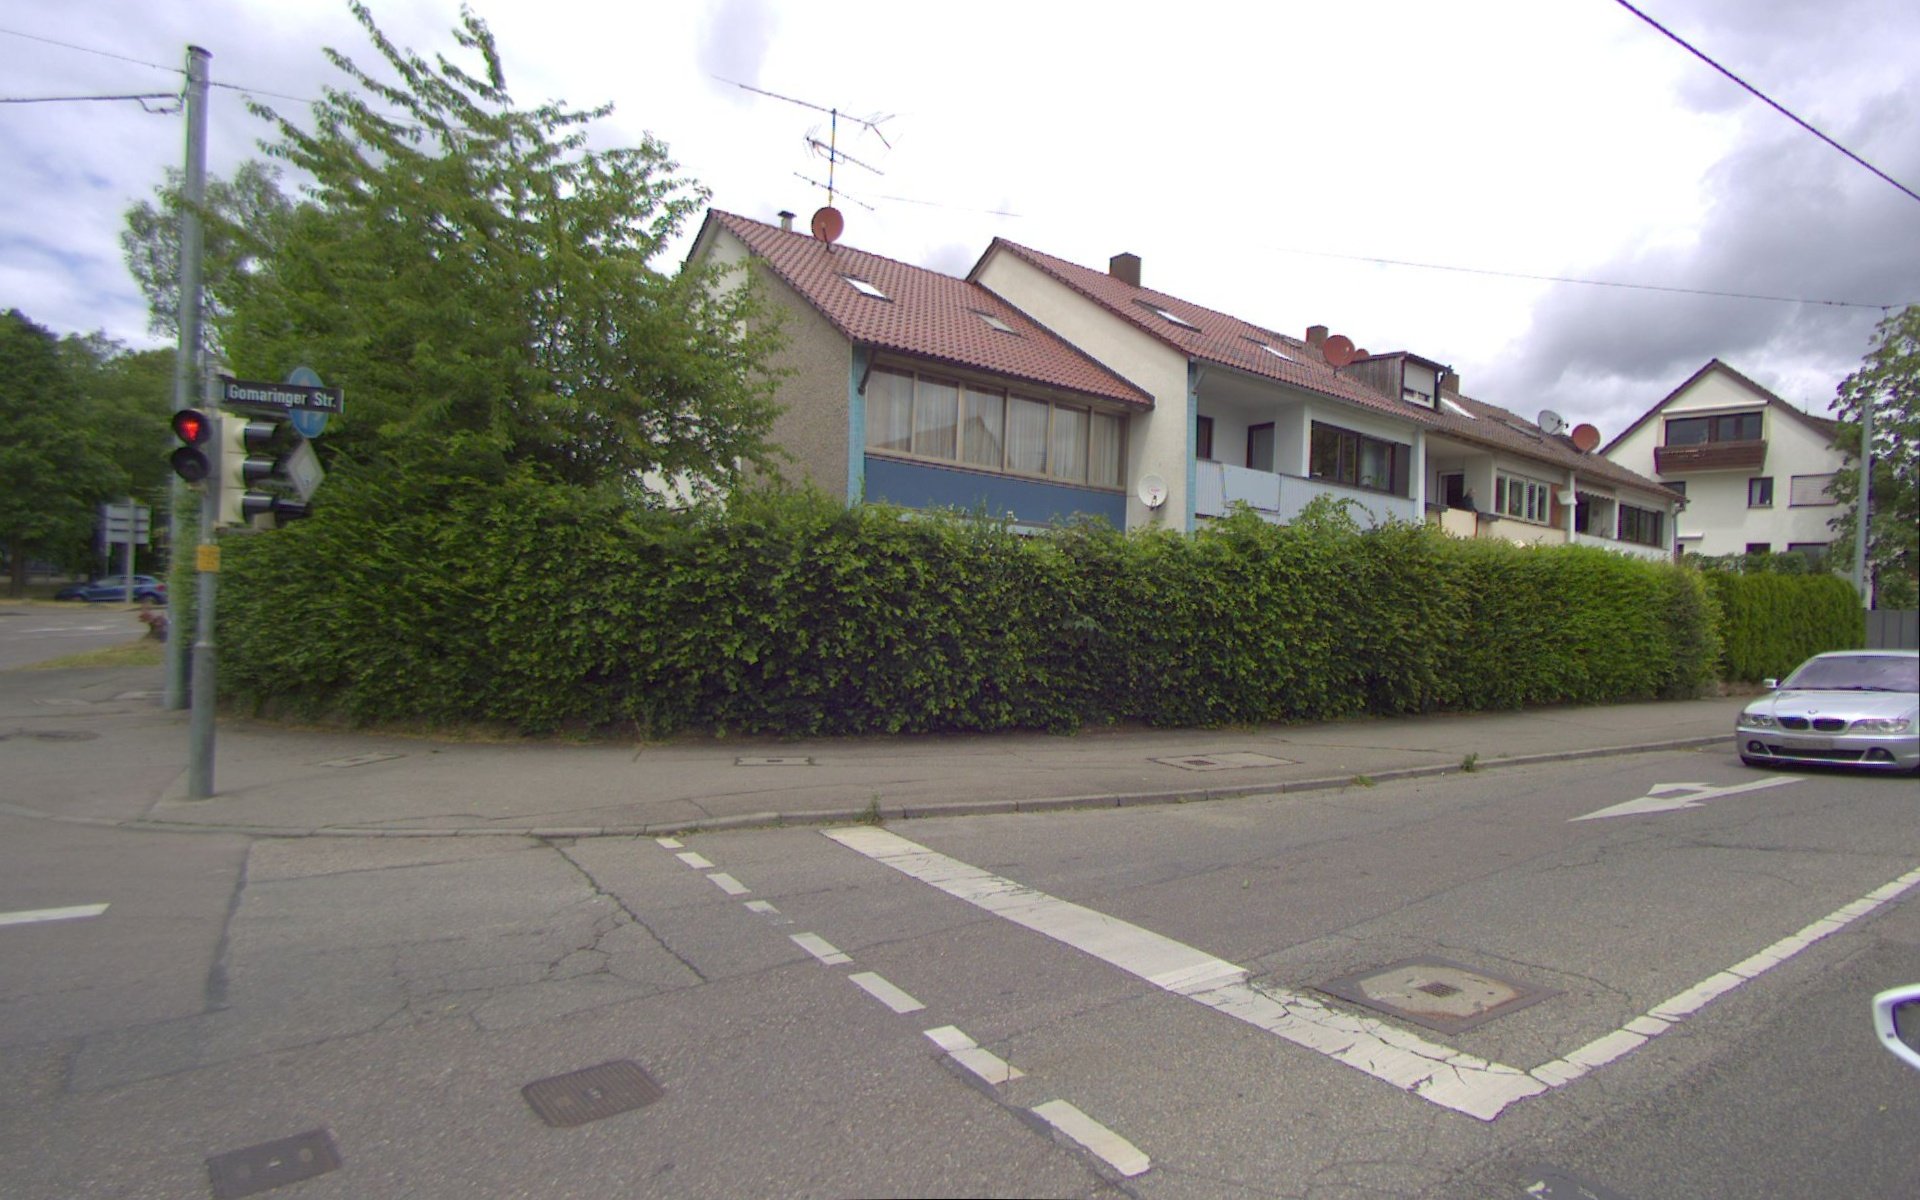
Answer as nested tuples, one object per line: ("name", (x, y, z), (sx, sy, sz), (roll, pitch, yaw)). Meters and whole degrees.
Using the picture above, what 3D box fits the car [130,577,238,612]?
("car", (-38.447, -0.268, 49.891), (3.954, 1.505, 1.903), (3, 0, -30))

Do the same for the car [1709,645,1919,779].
("car", (10.979, 1.270, 12.135), (4.038, 1.371, 1.704), (2, -5, -32))

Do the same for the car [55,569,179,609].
("car", (-37.334, -0.485, 44.608), (3.958, 1.506, 1.901), (3, 1, -33))
